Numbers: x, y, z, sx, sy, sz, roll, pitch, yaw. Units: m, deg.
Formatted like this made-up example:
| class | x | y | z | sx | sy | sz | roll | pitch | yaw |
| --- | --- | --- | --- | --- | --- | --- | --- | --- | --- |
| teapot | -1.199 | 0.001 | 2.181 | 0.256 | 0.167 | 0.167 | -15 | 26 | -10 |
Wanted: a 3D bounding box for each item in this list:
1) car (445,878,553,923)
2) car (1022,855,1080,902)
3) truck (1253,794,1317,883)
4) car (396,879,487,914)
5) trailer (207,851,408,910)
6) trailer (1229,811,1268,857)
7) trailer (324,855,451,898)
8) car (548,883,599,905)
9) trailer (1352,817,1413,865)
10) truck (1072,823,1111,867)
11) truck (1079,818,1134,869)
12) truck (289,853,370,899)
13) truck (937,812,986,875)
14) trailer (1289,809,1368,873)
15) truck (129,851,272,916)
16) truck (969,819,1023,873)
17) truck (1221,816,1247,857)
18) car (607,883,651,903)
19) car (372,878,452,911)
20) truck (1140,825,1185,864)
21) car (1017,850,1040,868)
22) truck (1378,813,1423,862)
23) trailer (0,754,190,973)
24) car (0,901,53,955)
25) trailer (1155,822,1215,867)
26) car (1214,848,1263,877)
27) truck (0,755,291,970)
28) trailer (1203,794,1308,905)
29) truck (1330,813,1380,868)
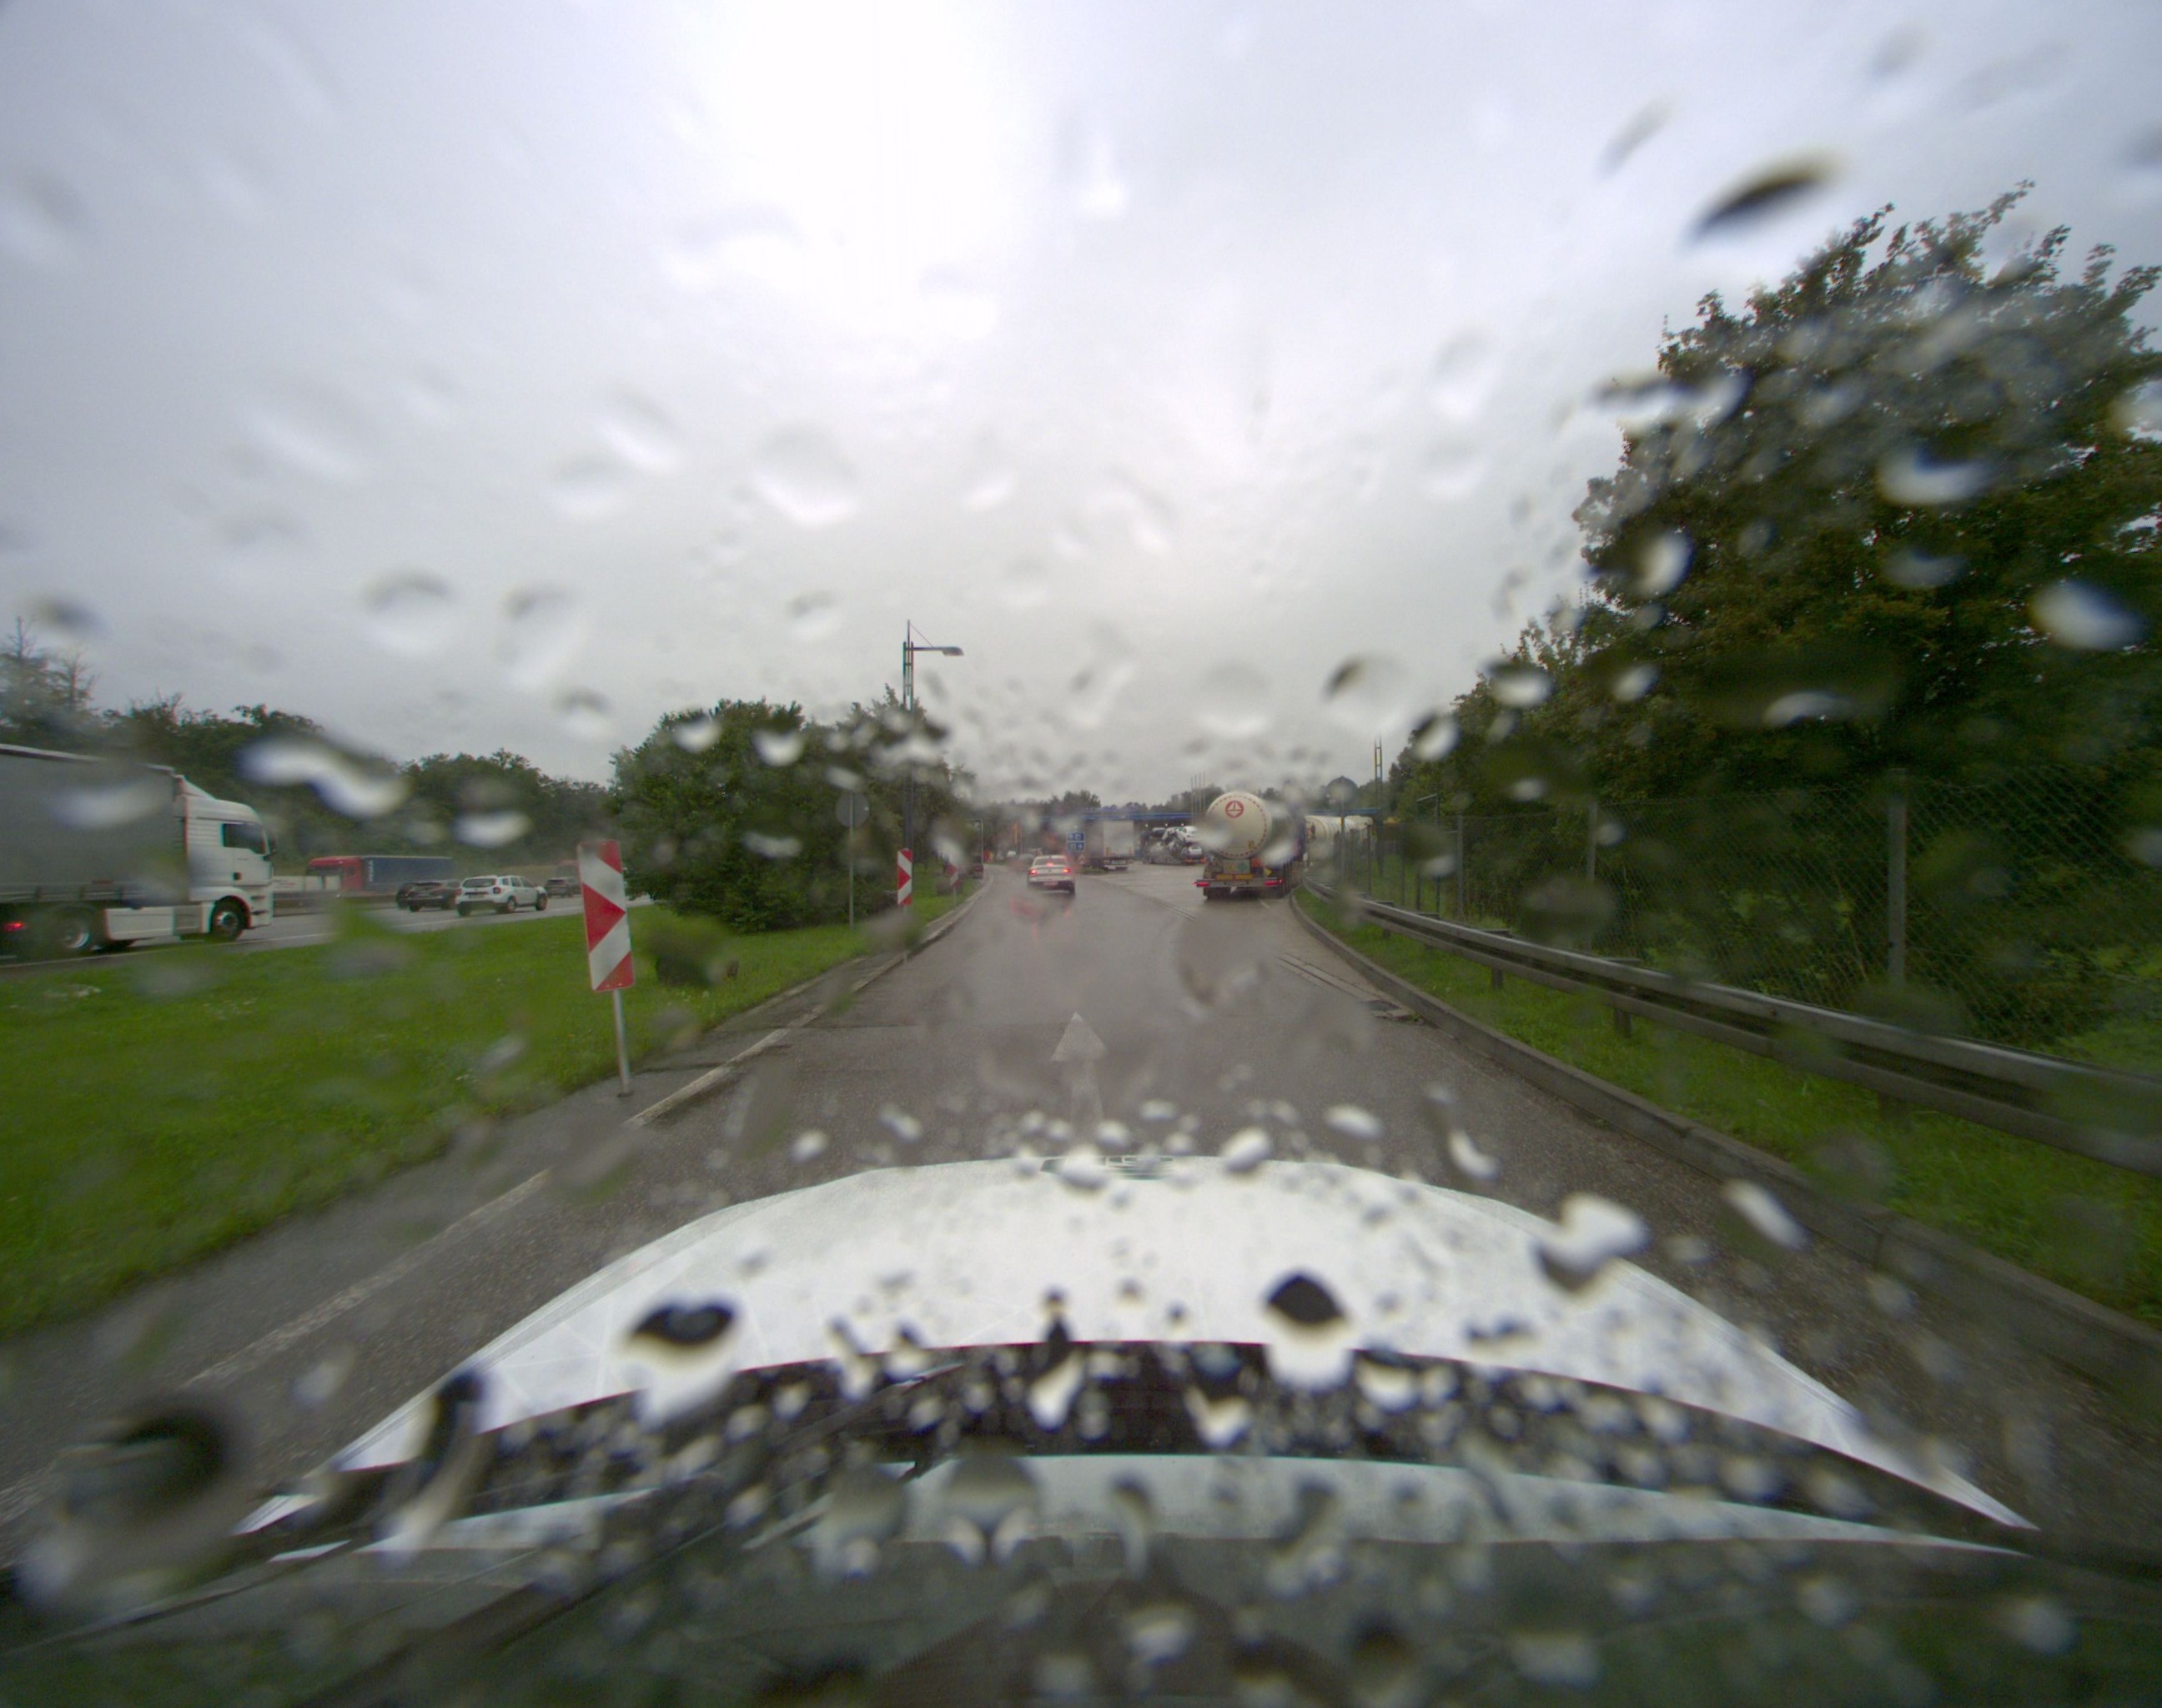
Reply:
| class | x | y | z | sx | sy | sz | roll | pitch | yaw |
| --- | --- | --- | --- | --- | --- | --- | --- | --- | --- |
| car | -23.763 | 1.857 | 33.450 | 1.785 | 1.586 | 4.310 | -2 | -1 | -9 |
| car | -1.074 | 0.925 | 31.165 | 1.987 | 1.679 | 4.000 | -1 | -1 | 1 |
| truck | 8.840 | -0.626 | 35.036 | 2.035 | 3.531 | 4.771 | -1 | 0 | 21 |
| car | -33.577 | 2.170 | 42.932 | 1.926 | 1.663 | 4.442 | -2 | -1 | -11 |
| trailer | -54.740 | 1.676 | 58.605 | 2.614 | 3.680 | 14.624 | 2 | 0 | -9 |
| trailer | 17.634 | -2.022 | 86.432 | 1.987 | 4.559 | 9.805 | -1 | 0 | -1 |
| trailer | -62.158 | 2.021 | 73.602 | 2.190 | 3.497 | 13.087 | 2 | -2 | -10 |
| car | -40.678 | 3.173 | 65.379 | 1.717 | 1.574 | 4.448 | -2 | -1 | -7 |
| trailer | 23.252 | -1.008 | 62.520 | 2.161 | 3.392 | 7.612 | -1 | 0 | 38 |
| truck | 0.926 | -0.824 | 75.759 | 2.370 | 3.874 | 6.990 | -2 | 0 | -9 |
| truck | 1.962 | -0.808 | 68.991 | 2.370 | 3.874 | 12.416 | -2 | 0 | -9 |
| truck | -60.804 | 1.803 | 66.002 | 2.190 | 3.510 | 5.150 | 2 | -2 | -10 |
| truck | -7.939 | -0.696 | 54.187 | 2.914 | 3.904 | 6.298 | -1 | 0 | -8 |
| trailer | 15.045 | -0.773 | 48.893 | 2.111 | 3.440 | 10.318 | -1 | 0 | 31 |
| truck | -53.245 | 1.687 | 49.502 | 2.622 | 3.670 | 5.973 | 2 | 0 | -9 |
| truck | -9.206 | -0.779 | 86.387 | 4.792 | 5.305 | 11.030 | -1 | 0 | -10 |
| truck | 17.548 | -1.984 | 93.731 | 1.982 | 4.549 | 4.793 | -1 | 0 | -1 |
| car | -39.172 | 3.358 | 70.635 | 1.787 | 1.527 | 4.324 | -2 | -1 | -7 |
| car | -38.987 | 2.334 | 47.590 | 1.708 | 1.750 | 3.987 | 2 | -1 | -9 |
| truck | 9.030 | -1.025 | 91.130 | 3.230 | 4.188 | 8.424 | 0 | 0 | -7 |
| car | -4.570 | 0.428 | 71.333 | 1.874 | 1.461 | 3.997 | 0 | 0 | -2 |
| truck | 25.901 | -1.324 | 65.962 | 2.160 | 3.828 | 4.168 | -1 | 0 | 38 |
| trailer | -20.481 | 0.140 | 11.295 | 2.895 | 3.983 | 14.067 | -3 | -1 | -10 |
| car | -32.948 | 2.245 | 23.310 | 1.704 | 1.575 | 4.511 | -2 | -1 | -8 |
| trailer | 10.163 | -0.967 | 81.228 | 3.212 | 4.189 | 11.503 | 0 | 0 | -7 |
| car | 10.016 | 0.572 | 51.680 | 1.726 | 1.667 | 4.024 | 0 | -2 | 31 |
| truck | -21.667 | 0.272 | 18.178 | 2.873 | 4.053 | 5.913 | -2 | -1 | -10 |
| trailer | 6.468 | -0.149 | 28.793 | 1.963 | 3.224 | 10.375 | -1 | 0 | 21 |
| truck | 18.310 | -0.894 | 54.357 | 2.125 | 3.513 | 4.675 | -1 | 0 | 31 |
